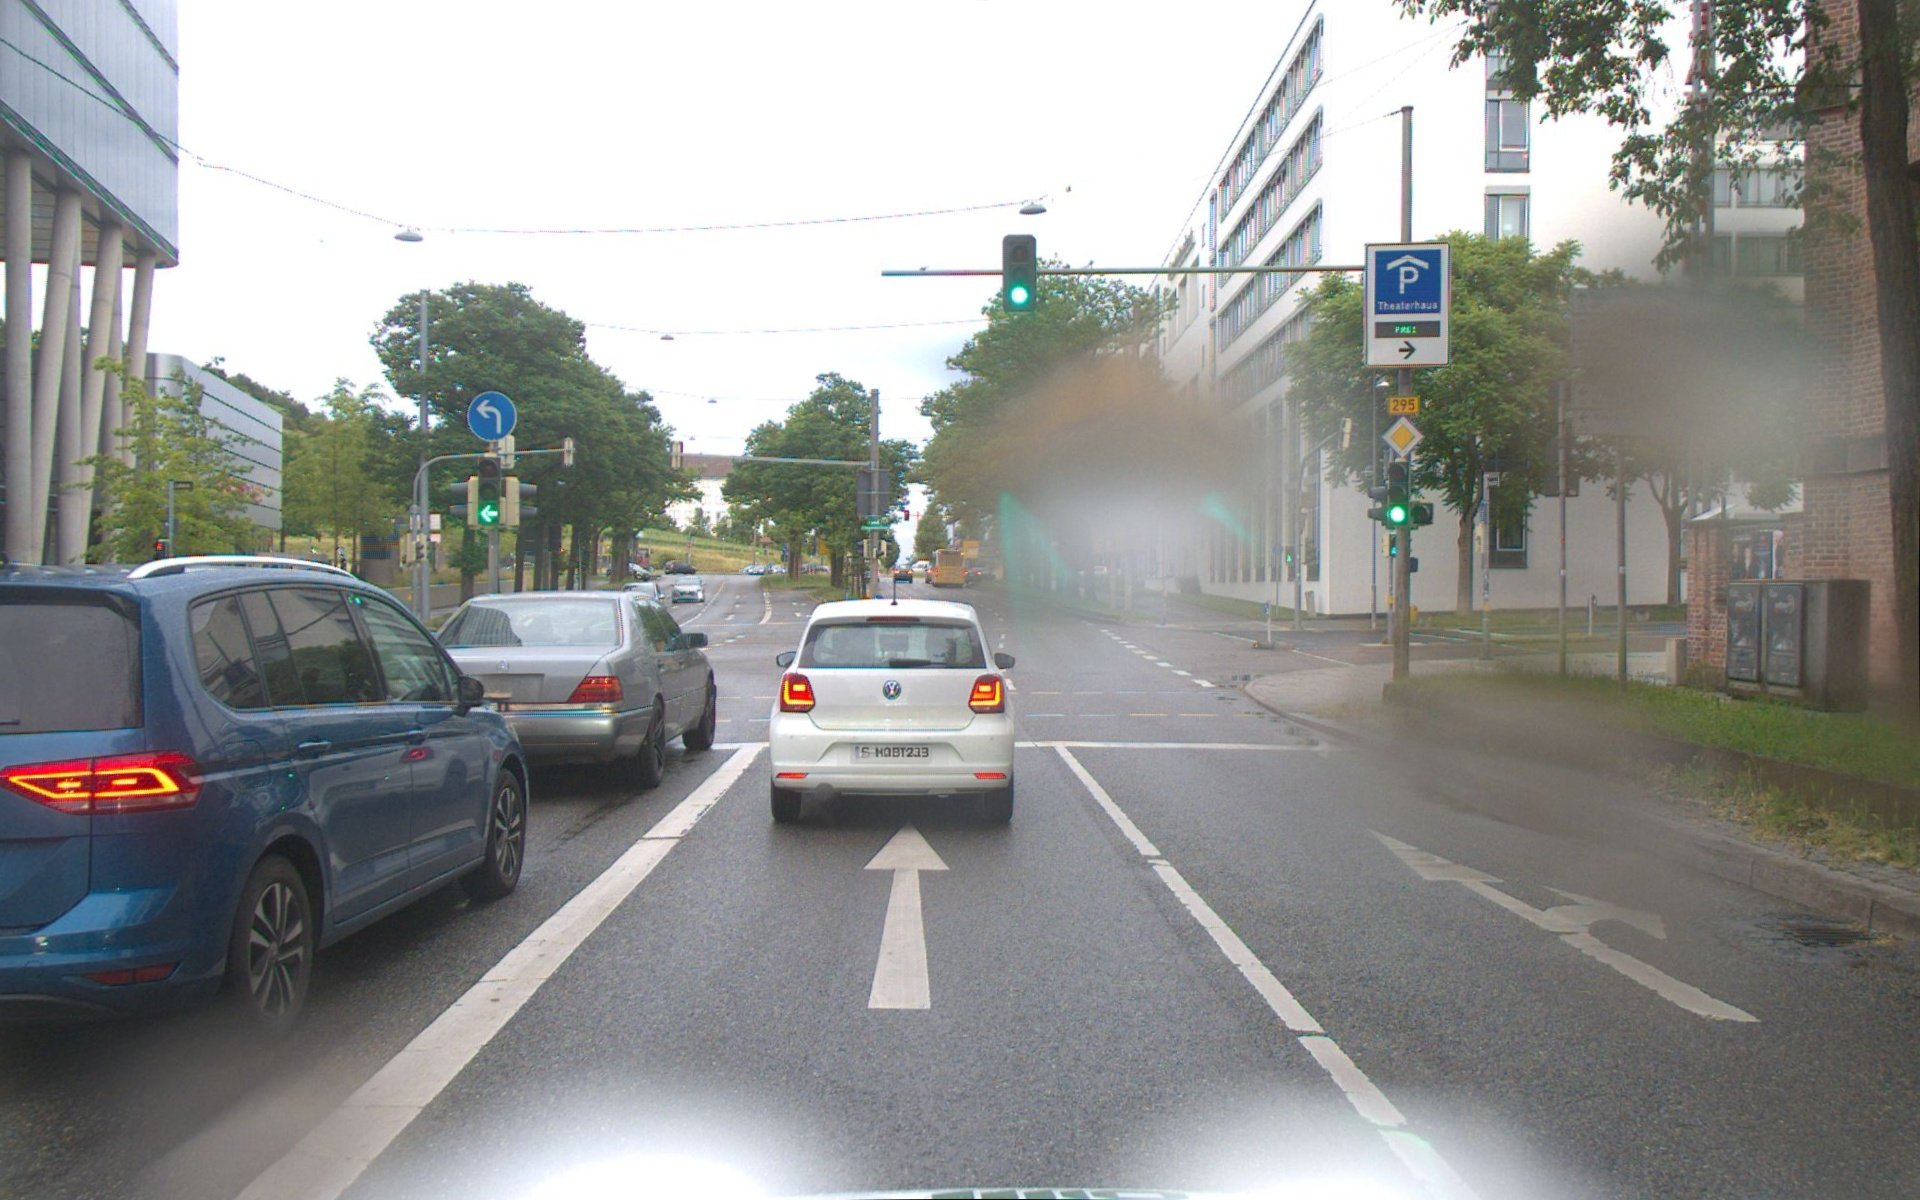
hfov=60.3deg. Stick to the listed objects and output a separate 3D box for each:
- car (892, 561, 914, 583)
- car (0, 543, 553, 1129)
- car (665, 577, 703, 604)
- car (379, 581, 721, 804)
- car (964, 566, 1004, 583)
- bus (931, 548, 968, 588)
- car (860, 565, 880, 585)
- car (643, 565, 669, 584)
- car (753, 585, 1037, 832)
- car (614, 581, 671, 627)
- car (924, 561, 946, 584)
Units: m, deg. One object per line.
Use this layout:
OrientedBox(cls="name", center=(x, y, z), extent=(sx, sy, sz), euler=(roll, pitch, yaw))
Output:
OrientedBox(cls="car", center=(-5.290, -2.608, 153.922), extent=(1.954, 2.049, 3.998), euler=(0, 0, -3))
OrientedBox(cls="car", center=(-3.065, 0.652, 6.702), extent=(1.736, 1.624, 4.197), euler=(-1, 0, 0))
OrientedBox(cls="car", center=(-15.761, -0.579, 94.576), extent=(1.779, 1.436, 4.650), euler=(-2, 1, -5))
OrientedBox(cls="car", center=(-3.174, 0.638, 13.654), extent=(1.809, 1.537, 4.048), euler=(-1, 0, 0))
OrientedBox(cls="car", center=(2.256, -2.378, 153.821), extent=(1.670, 1.542, 3.804), euler=(0, 0, 42))
OrientedBox(cls="bus", center=(-0.974, -2.724, 141.581), extent=(2.771, 3.324, 9.995), euler=(0, 1, -3))
OrientedBox(cls="car", center=(-8.473, -2.360, 155.513), extent=(1.759, 1.772, 3.997), euler=(-1, 1, -4))
OrientedBox(cls="car", center=(-28.071, -2.401, 152.698), extent=(1.955, 1.644, 5.114), euler=(-2, 2, -6))
OrientedBox(cls="car", center=(-0.457, 0.669, 12.309), extent=(1.758, 1.528, 3.999), euler=(0, 0, -2))
OrientedBox(cls="car", center=(-11.736, 0.120, 61.301), extent=(1.716, 1.547, 3.813), euler=(-1, 1, -6))
OrientedBox(cls="car", center=(-2.338, -2.578, 154.849), extent=(1.954, 2.049, 3.998), euler=(0, 0, -3))
